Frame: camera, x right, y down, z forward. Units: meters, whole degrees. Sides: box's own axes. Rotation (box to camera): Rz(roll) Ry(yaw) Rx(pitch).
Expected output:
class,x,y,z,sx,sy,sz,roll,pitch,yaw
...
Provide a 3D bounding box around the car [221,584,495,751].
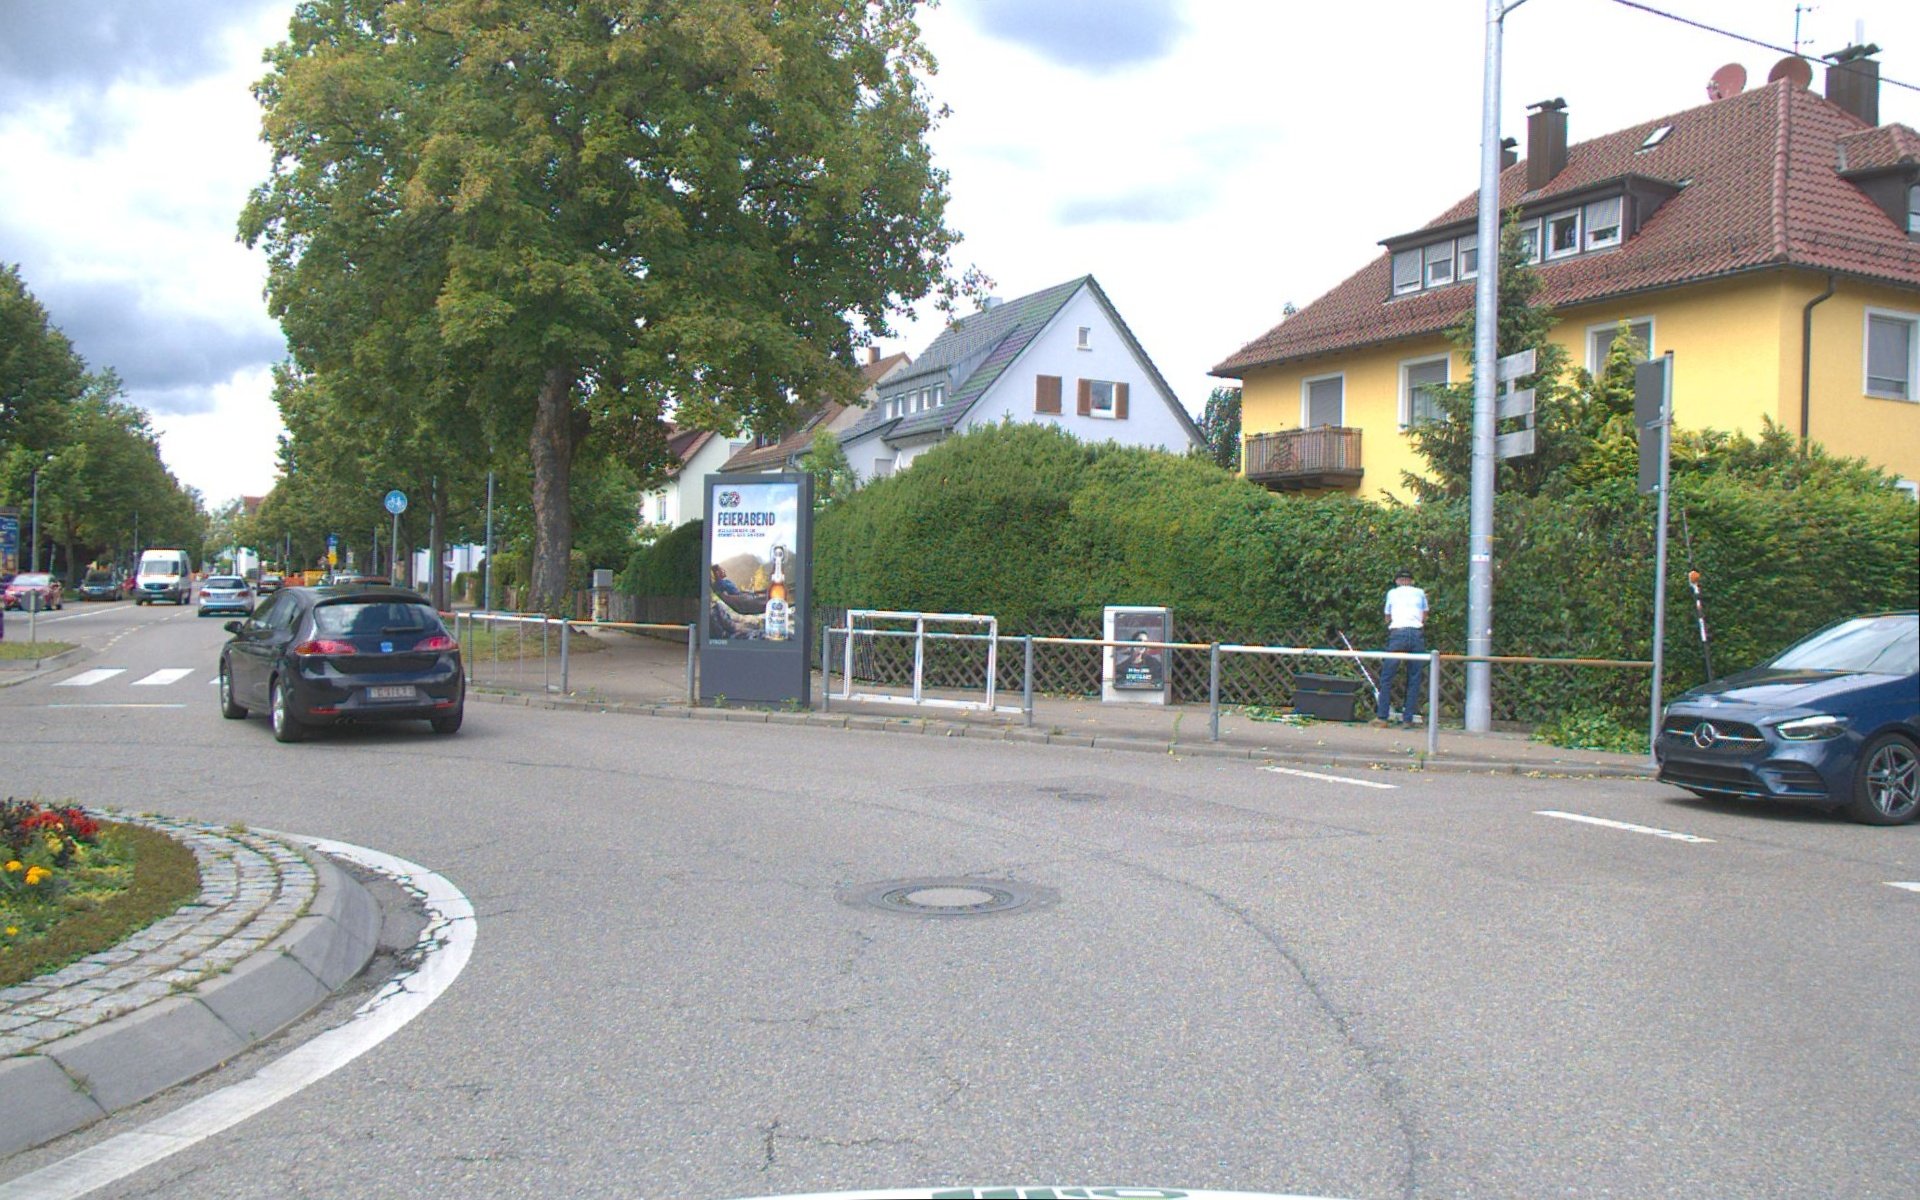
class,x,y,z,sx,sy,sz,roll,pitch,yaw
car,-6.224,0.583,16.864,1.803,1.463,3.695,-1,1,-34

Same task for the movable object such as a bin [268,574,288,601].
class,x,y,z,sx,sy,sz,roll,pitch,yaw
movable object such as a bin,-67.612,-1.280,163.969,1.745,2.619,3.712,0,1,-24

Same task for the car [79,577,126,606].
class,x,y,z,sx,sy,sz,roll,pitch,yaw
car,-46.279,-0.482,89.332,1.706,1.494,4.275,0,1,-21

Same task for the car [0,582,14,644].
class,x,y,z,sx,sy,sz,roll,pitch,yaw
car,-21.950,0.293,36.157,1.550,1.386,3.721,0,1,-20

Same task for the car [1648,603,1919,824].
class,x,y,z,sx,sy,sz,roll,pitch,yaw
car,7.557,0.813,12.700,4.242,1.474,1.575,1,0,-20

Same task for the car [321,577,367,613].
class,x,y,z,sx,sy,sz,roll,pitch,yaw
car,-26.037,-0.249,69.810,1.631,1.440,4.147,-1,1,-23

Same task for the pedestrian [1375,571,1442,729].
class,x,y,z,sx,sy,sz,roll,pitch,yaw
pedestrian,4.915,0.535,18.109,0.638,1.685,0.594,1,0,19

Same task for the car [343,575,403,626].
class,x,y,z,sx,sy,sz,roll,pitch,yaw
car,-17.689,0.020,49.772,1.543,1.481,3.644,0,0,-22

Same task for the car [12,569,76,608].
class,x,y,z,sx,sy,sz,roll,pitch,yaw
car,-37.905,-0.487,68.515,1.660,1.568,4.108,0,1,-20

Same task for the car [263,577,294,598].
class,x,y,z,sx,sy,sz,roll,pitch,yaw
car,-46.668,-0.837,113.156,1.787,1.399,3.663,0,1,-25

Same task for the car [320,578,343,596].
class,x,y,z,sx,sy,sz,roll,pitch,yaw
car,-51.716,-1.098,136.054,1.682,1.480,4.584,0,1,-23

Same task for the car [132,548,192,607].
class,x,y,z,sx,sy,sz,roll,pitch,yaw
car,-38.758,-1.098,80.397,1.989,2.720,5.772,0,1,-20

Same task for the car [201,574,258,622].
class,x,y,z,sx,sy,sz,roll,pitch,yaw
car,-27.132,-0.095,61.488,1.881,1.715,3.712,-1,1,-24
